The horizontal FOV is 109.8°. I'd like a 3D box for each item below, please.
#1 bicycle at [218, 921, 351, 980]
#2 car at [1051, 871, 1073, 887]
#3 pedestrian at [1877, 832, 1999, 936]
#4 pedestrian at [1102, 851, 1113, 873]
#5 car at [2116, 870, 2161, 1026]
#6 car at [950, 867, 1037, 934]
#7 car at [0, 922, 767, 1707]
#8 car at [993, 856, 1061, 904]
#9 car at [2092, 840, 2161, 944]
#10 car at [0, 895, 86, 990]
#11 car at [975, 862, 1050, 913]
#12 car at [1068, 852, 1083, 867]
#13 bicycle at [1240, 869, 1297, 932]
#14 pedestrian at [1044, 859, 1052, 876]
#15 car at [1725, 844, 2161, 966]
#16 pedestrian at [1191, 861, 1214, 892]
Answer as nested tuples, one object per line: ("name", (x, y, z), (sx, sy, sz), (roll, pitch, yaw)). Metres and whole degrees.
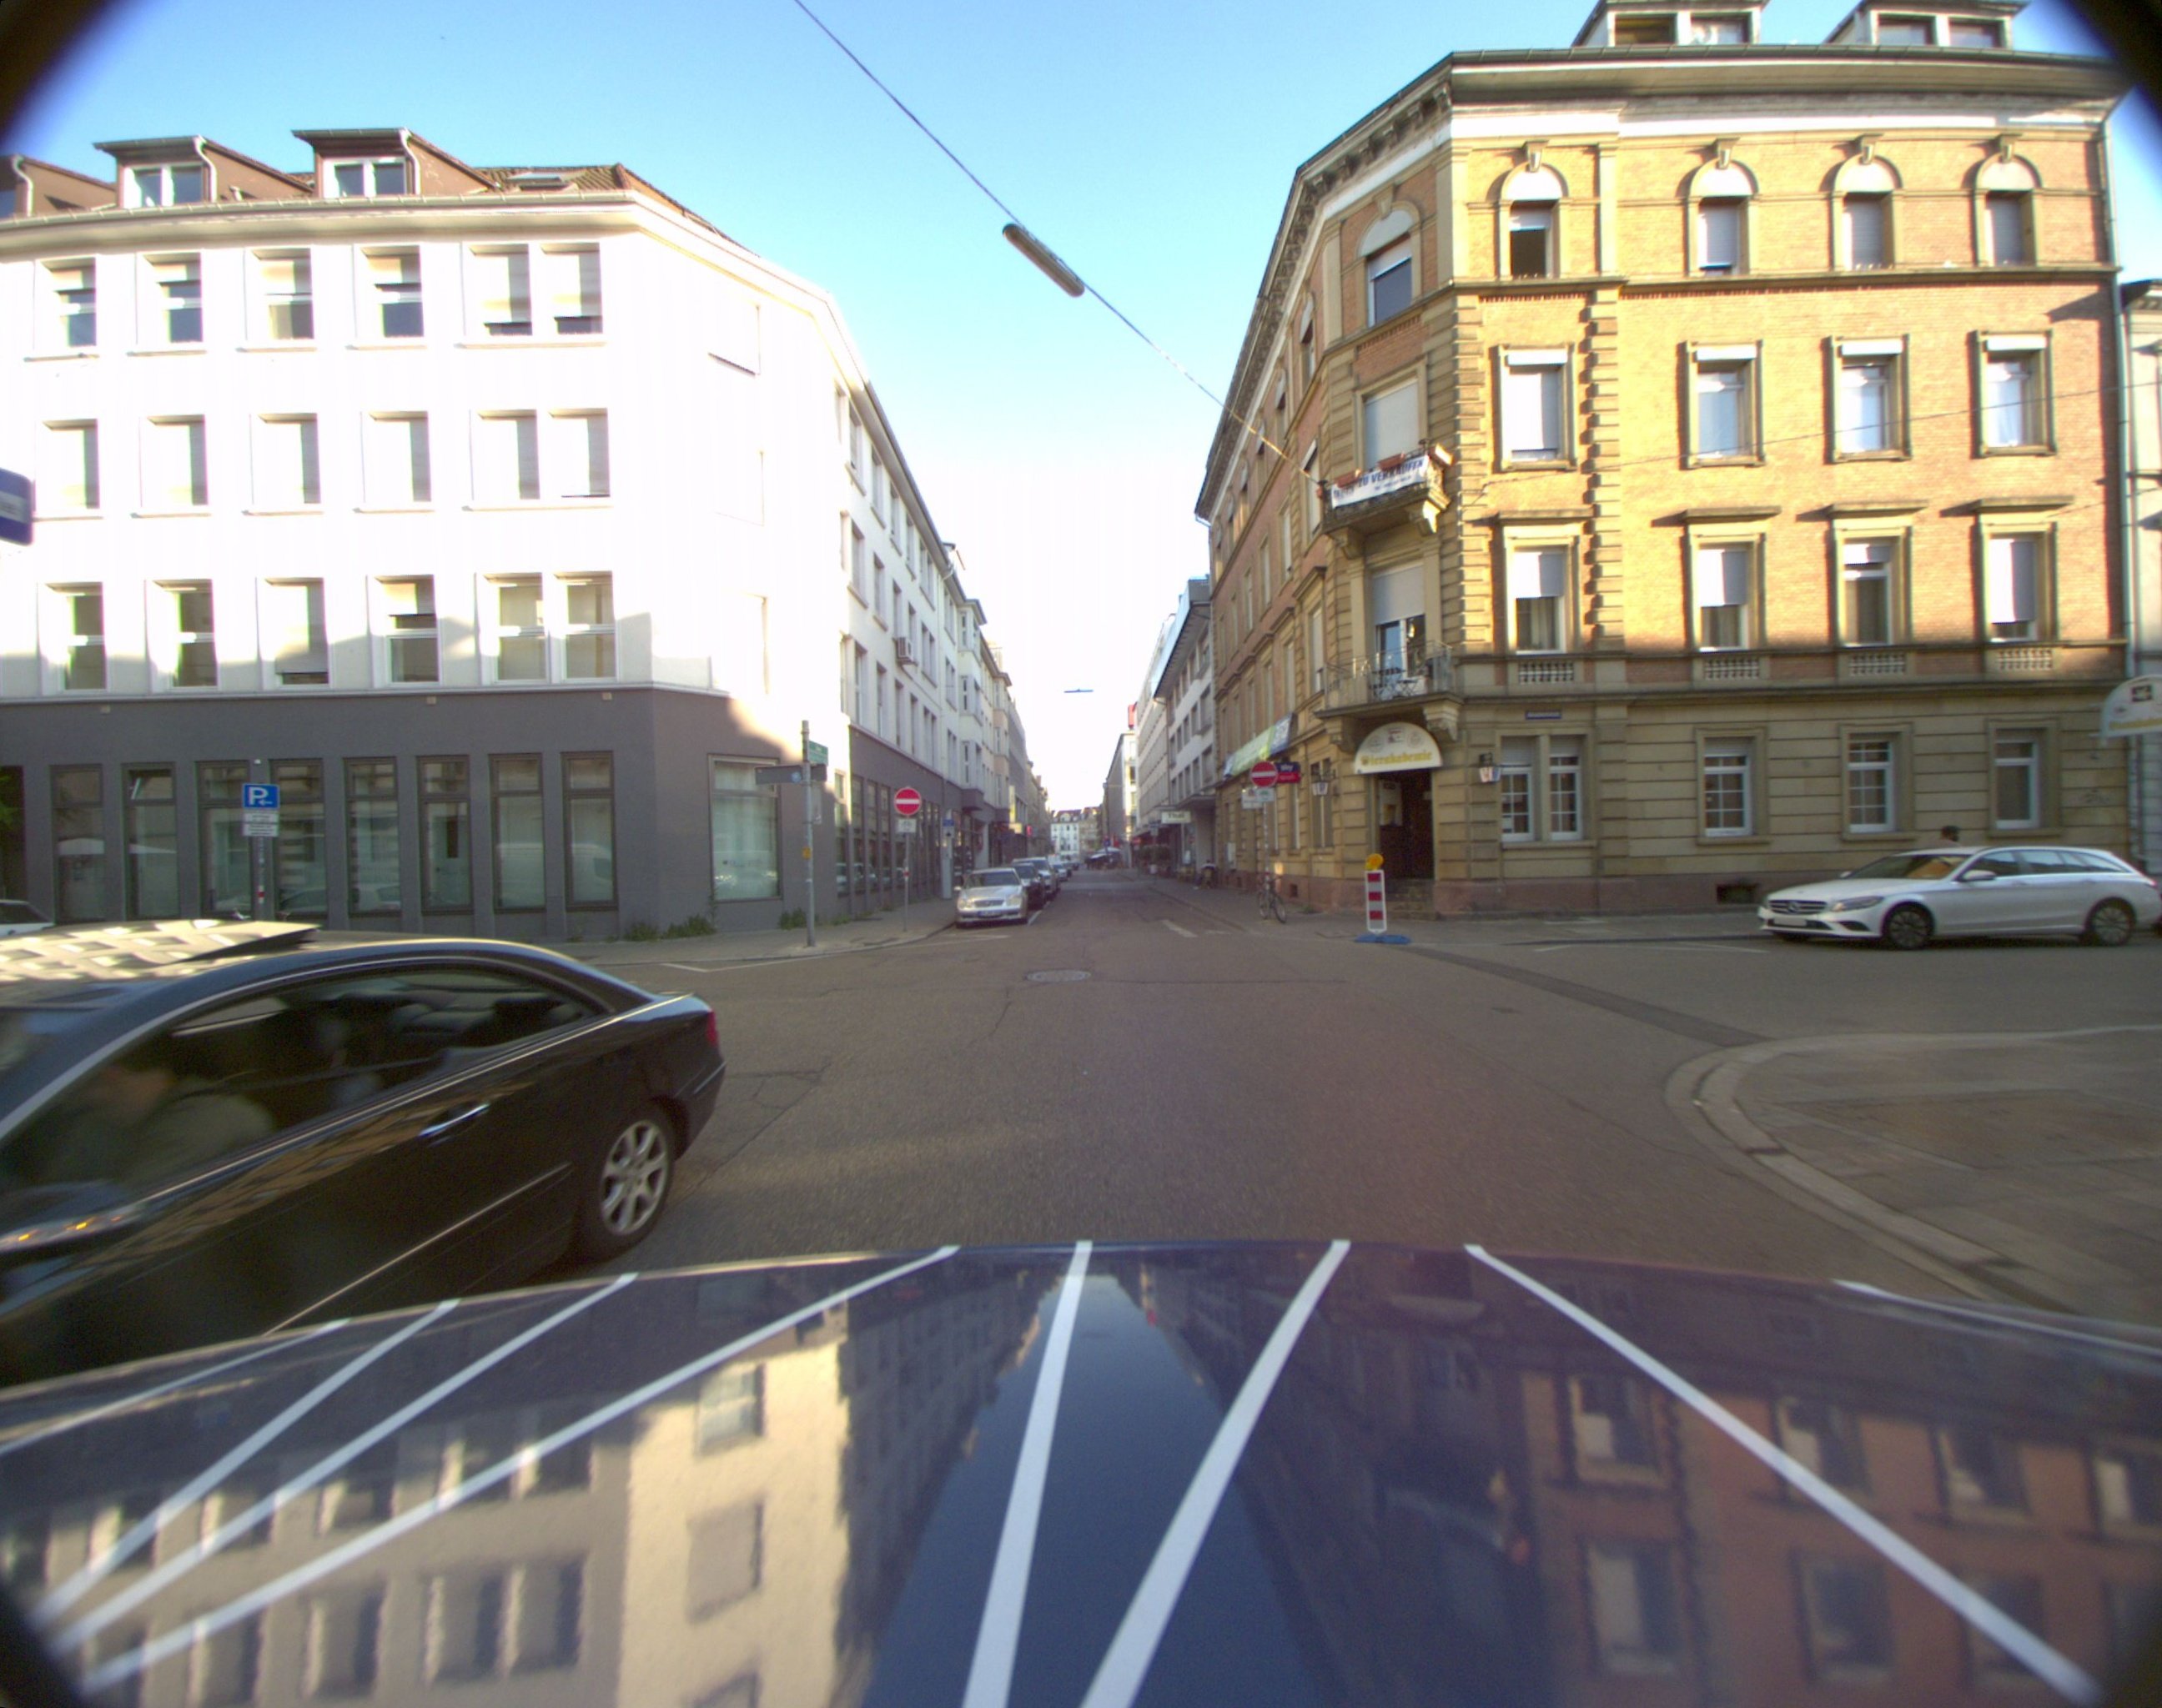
("bicycle", (-13.632, 1.649, 13.032), (1.642, 0.900, 0.598), (-2, 0, 1))
("car", (-1.391, 1.868, 57.231), (1.514, 1.053, 3.467), (-2, 0, 1))
("pedestrian", (14.977, 0.508, 13.307), (1.016, 1.732, 0.984), (-2, 0, -6))
("pedestrian", (3.198, 0.963, 93.281), (1.247, 2.599, 1.467), (-2, 0, 0))
("car", (11.409, 0.751, 6.015), (3.786, 1.363, 1.945), (-2, -2, -1))
("car", (-2.121, 1.096, 19.571), (1.755, 1.393, 4.488), (-3, 0, -1))
("car", (-2.825, 1.084, 1.864), (1.888, 1.400, 4.730), (-2, 0, 3))
("car", (-2.105, 1.007, 30.883), (2.335, 1.734, 4.488), (-2, 0, 1))
("car", (18.182, 0.533, 11.399), (3.751, 1.567, 1.630), (-2, 0, 1))
("car", (-18.346, 1.407, 11.656), (3.880, 1.405, 1.663), (-1, 0, -1))
("car", (-2.177, 1.040, 25.137), (2.013, 1.515, 4.118), (-2, 0, 1))
("car", (-0.780, 0.752, 107.741), (1.999, 2.002, 3.999), (-1, 1, -2))
("bicycle", (4.166, 0.996, 17.008), (0.660, 1.268, 1.763), (-5, 0, -3))
("pedestrian", (-3.509, 1.457, 80.406), (0.711, 1.751, 0.885), (-1, 0, -7))
("car", (12.833, 0.712, 11.511), (4.503, 1.555, 2.000), (-2, 0, -2))
("pedestrian", (5.356, 0.985, 33.545), (0.836, 1.332, 0.806), (-1, 1, 21))
